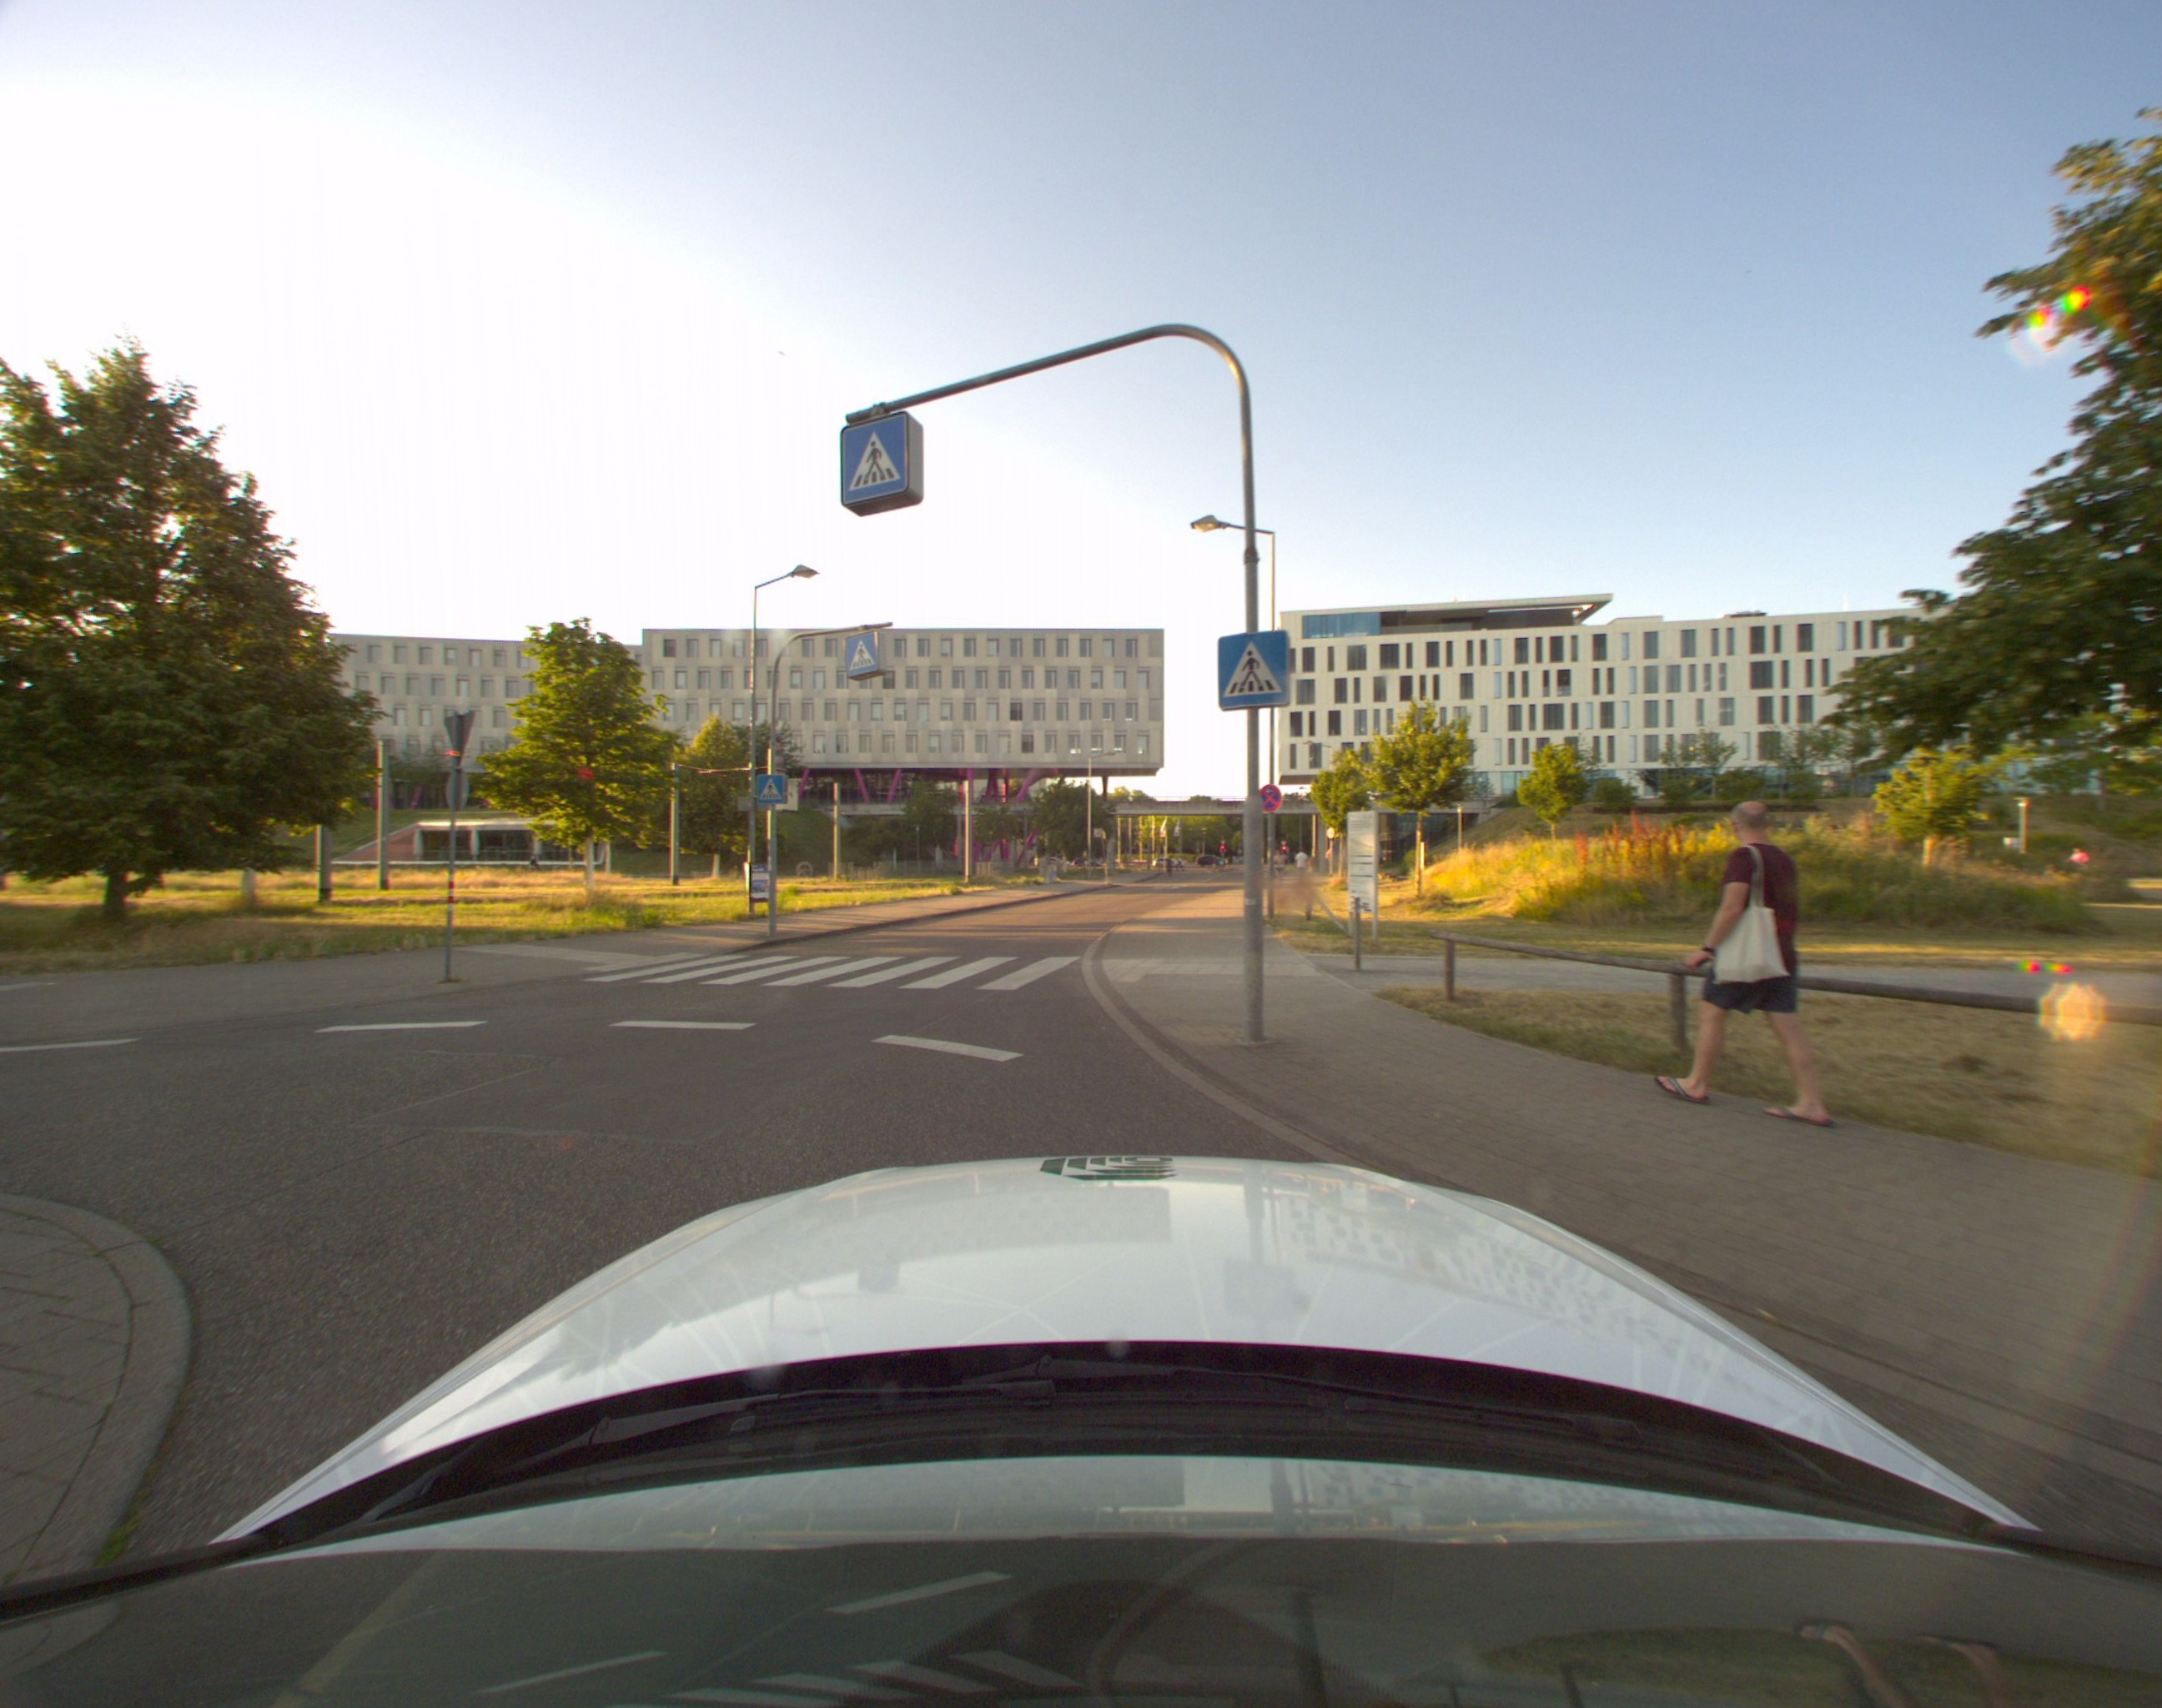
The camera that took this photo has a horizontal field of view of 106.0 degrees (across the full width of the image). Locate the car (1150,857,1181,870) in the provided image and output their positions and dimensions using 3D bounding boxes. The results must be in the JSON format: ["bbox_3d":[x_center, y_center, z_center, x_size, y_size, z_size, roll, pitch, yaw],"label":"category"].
[{"bbox_3d":[12.388,1.378,119.377,4.385,1.724,1.840,0,1,11],"label":"car"}]

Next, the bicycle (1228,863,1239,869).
[{"bbox_3d":[29.241,2.318,156.054,1.964,1.128,0.558,-1,1,-13],"label":"bicycle"}]

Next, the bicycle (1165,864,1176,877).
[{"bbox_3d":[7.810,1.428,71.082,0.534,1.043,1.934,0,1,18],"label":"bicycle"}]

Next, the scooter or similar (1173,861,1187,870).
[{"bbox_3d":[13.083,1.504,107.708,1.851,1.174,0.765,0,1,4],"label":"scooter or similar"}]

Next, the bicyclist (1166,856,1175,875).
[{"bbox_3d":[7.797,1.002,71.064,0.610,1.662,1.041,0,1,18],"label":"bicyclist"}]

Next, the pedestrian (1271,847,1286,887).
[{"bbox_3d":[9.041,0.592,37.319,0.589,1.801,0.822,0,1,20],"label":"pedestrian"}]

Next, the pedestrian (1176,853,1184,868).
[{"bbox_3d":[13.089,0.894,107.718,0.904,1.990,0.772,0,1,4],"label":"pedestrian"}]

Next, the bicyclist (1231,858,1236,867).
[{"bbox_3d":[29.297,1.639,156.060,0.757,1.723,0.550,-1,1,-13],"label":"bicyclist"}]

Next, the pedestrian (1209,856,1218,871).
[{"bbox_3d":[16.902,1.232,103.821,1.050,1.834,0.895,0,1,-1],"label":"pedestrian"}]

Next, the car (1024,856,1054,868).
[{"bbox_3d":[-6.710,1.333,130.999,4.438,1.816,1.951,0,1,11],"label":"car"}]

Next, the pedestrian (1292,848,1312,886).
[{"bbox_3d":[10.398,0.599,38.330,0.824,1.766,0.822,0,1,20],"label":"pedestrian"}]

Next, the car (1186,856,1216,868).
[{"bbox_3d":[18.370,1.251,124.437,4.382,1.799,1.842,0,1,13],"label":"car"}]

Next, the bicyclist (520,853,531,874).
[{"bbox_3d":[-40.078,0.699,58.773,0.508,1.494,0.426,0,1,14],"label":"bicyclist"}]

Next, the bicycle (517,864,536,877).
[{"bbox_3d":[-40.021,1.168,58.765,1.223,0.900,0.433,0,1,13],"label":"bicycle"}]

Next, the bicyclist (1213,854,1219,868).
[{"bbox_3d":[17.678,0.915,106.727,0.761,1.704,0.514,0,1,10],"label":"bicyclist"}]

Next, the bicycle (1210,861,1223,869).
[{"bbox_3d":[17.722,1.452,106.729,1.683,0.948,0.513,0,1,9],"label":"bicycle"}]

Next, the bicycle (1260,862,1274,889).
[{"bbox_3d":[8.583,0.969,37.563,0.446,1.168,1.950,0,1,19],"label":"bicycle"}]

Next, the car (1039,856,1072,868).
[{"bbox_3d":[-3.877,1.203,124.907,4.654,1.828,1.842,0,1,13],"label":"car"}]

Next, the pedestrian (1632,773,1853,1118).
[{"bbox_3d":[3.747,0.468,4.694,0.726,1.784,0.805,0,1,15],"label":"pedestrian"}]

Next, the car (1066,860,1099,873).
[{"bbox_3d":[0.252,1.908,120.843,4.693,1.828,1.895,0,1,3],"label":"car"}]
